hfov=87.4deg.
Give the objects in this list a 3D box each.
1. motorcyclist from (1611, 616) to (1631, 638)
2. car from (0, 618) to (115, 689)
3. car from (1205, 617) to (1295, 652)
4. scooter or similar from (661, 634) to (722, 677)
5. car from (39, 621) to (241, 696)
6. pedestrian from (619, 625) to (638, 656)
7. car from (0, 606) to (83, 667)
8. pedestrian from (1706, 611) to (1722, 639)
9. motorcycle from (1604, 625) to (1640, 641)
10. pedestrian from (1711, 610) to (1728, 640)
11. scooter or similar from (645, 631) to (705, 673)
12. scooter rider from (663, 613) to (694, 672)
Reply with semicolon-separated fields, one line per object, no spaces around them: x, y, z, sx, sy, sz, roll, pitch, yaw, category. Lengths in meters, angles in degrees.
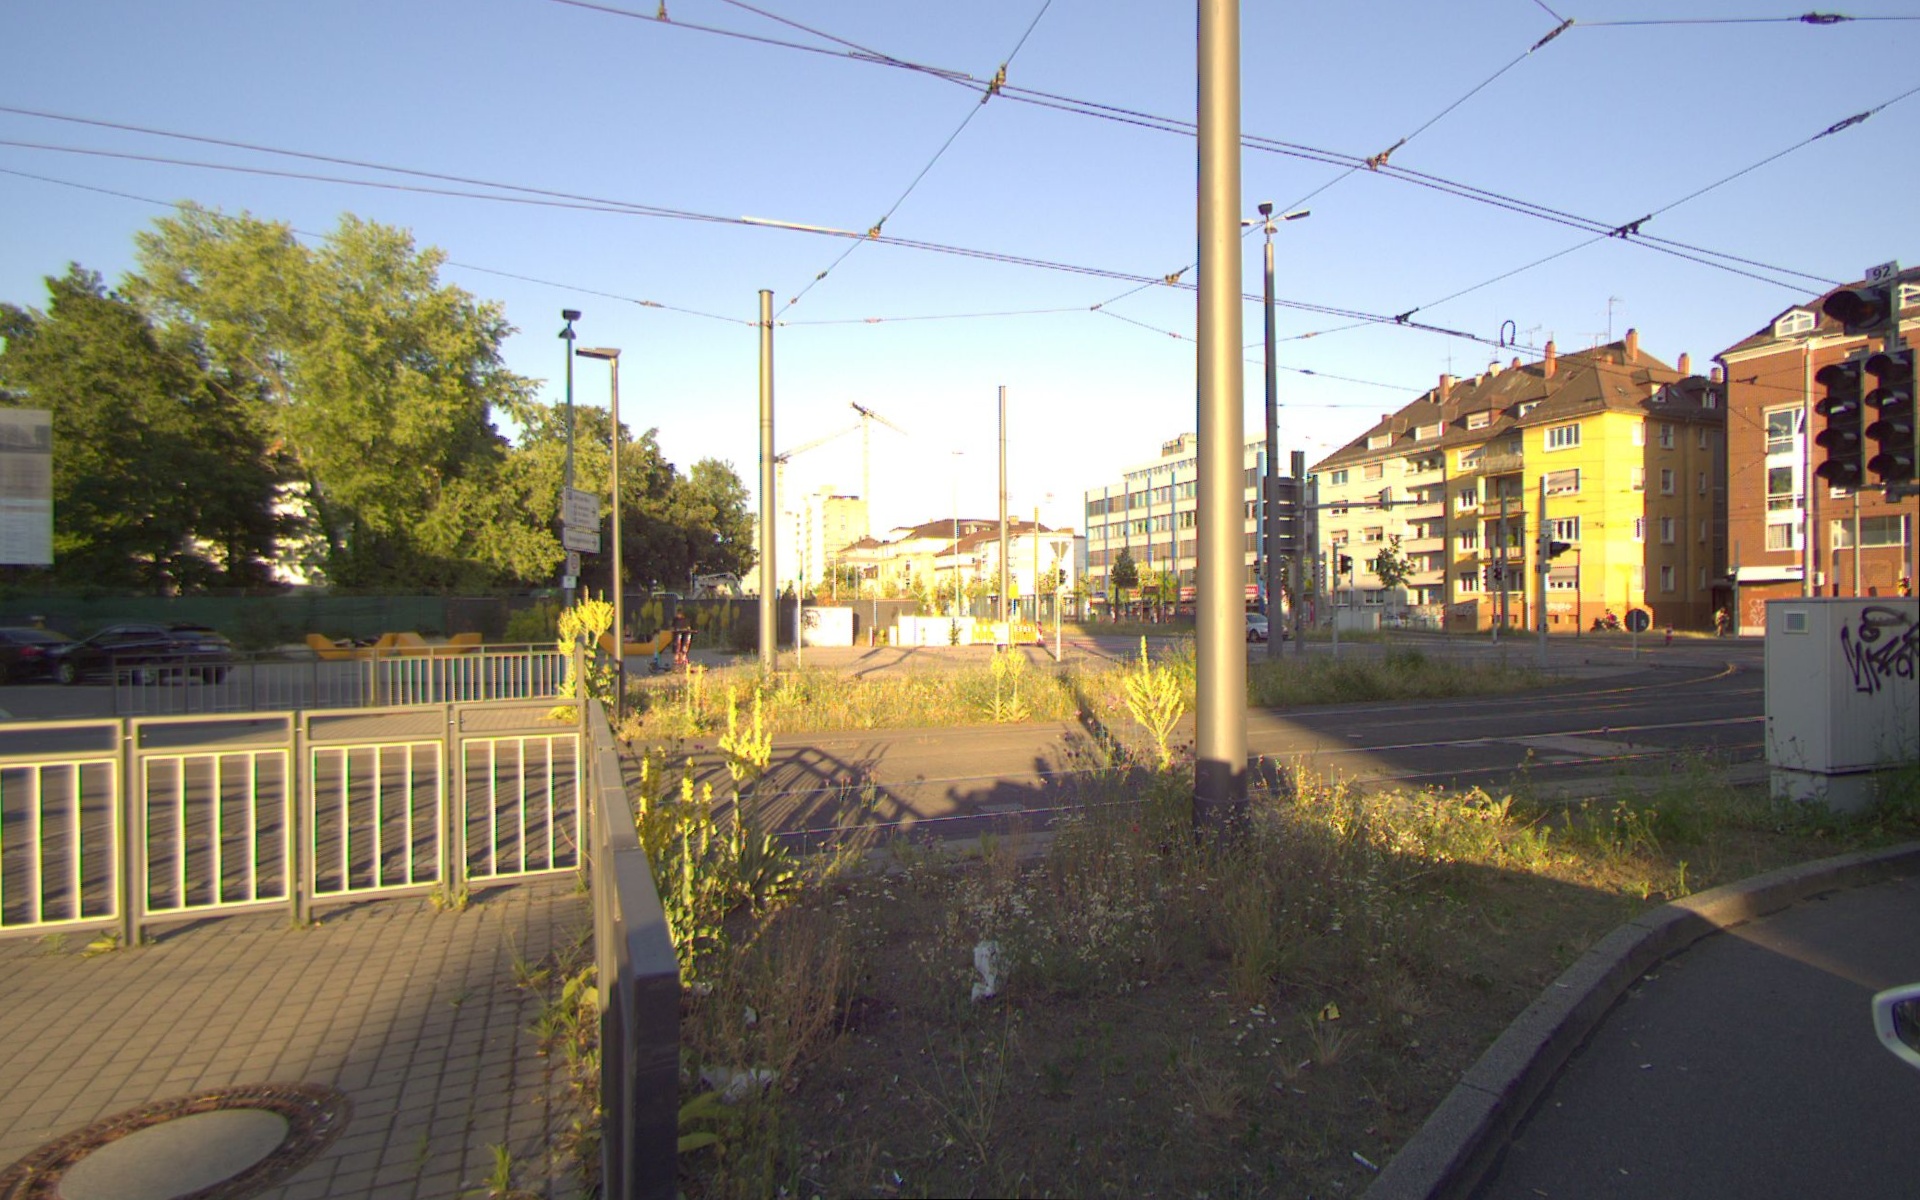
39.729;1.619;60.372;0.778;1.237;0.701;0;1;-25;motorcyclist
-24.286;1.327;25.911;3.920;1.598;2.000;1;1;17;car
14.408;1.681;50.105;1.974;1.572;4.323;0;0;-26;car
-7.300;1.497;27.383;1.613;1.097;0.421;0;1;-44;scooter or similar
-20.090;1.379;24.658;3.920;1.567;2.000;1;1;17;car
-13.522;1.645;40.991;0.694;1.227;0.722;0;1;-20;pedestrian
-33.386;1.264;34.872;3.943;2.040;1.989;0;-1;-23;car
45.748;1.526;60.936;0.493;1.664;0.550;0;1;-20;pedestrian
39.754;1.974;60.328;0.426;0.921;1.829;0;1;-23;motorcycle
44.582;1.466;58.960;0.655;1.766;0.690;1;0;23;pedestrian
-7.891;1.427;27.841;1.613;1.077;0.421;0;1;-44;scooter or similar
-7.809;1.165;27.904;0.652;1.614;0.580;0;1;-40;scooter rider
